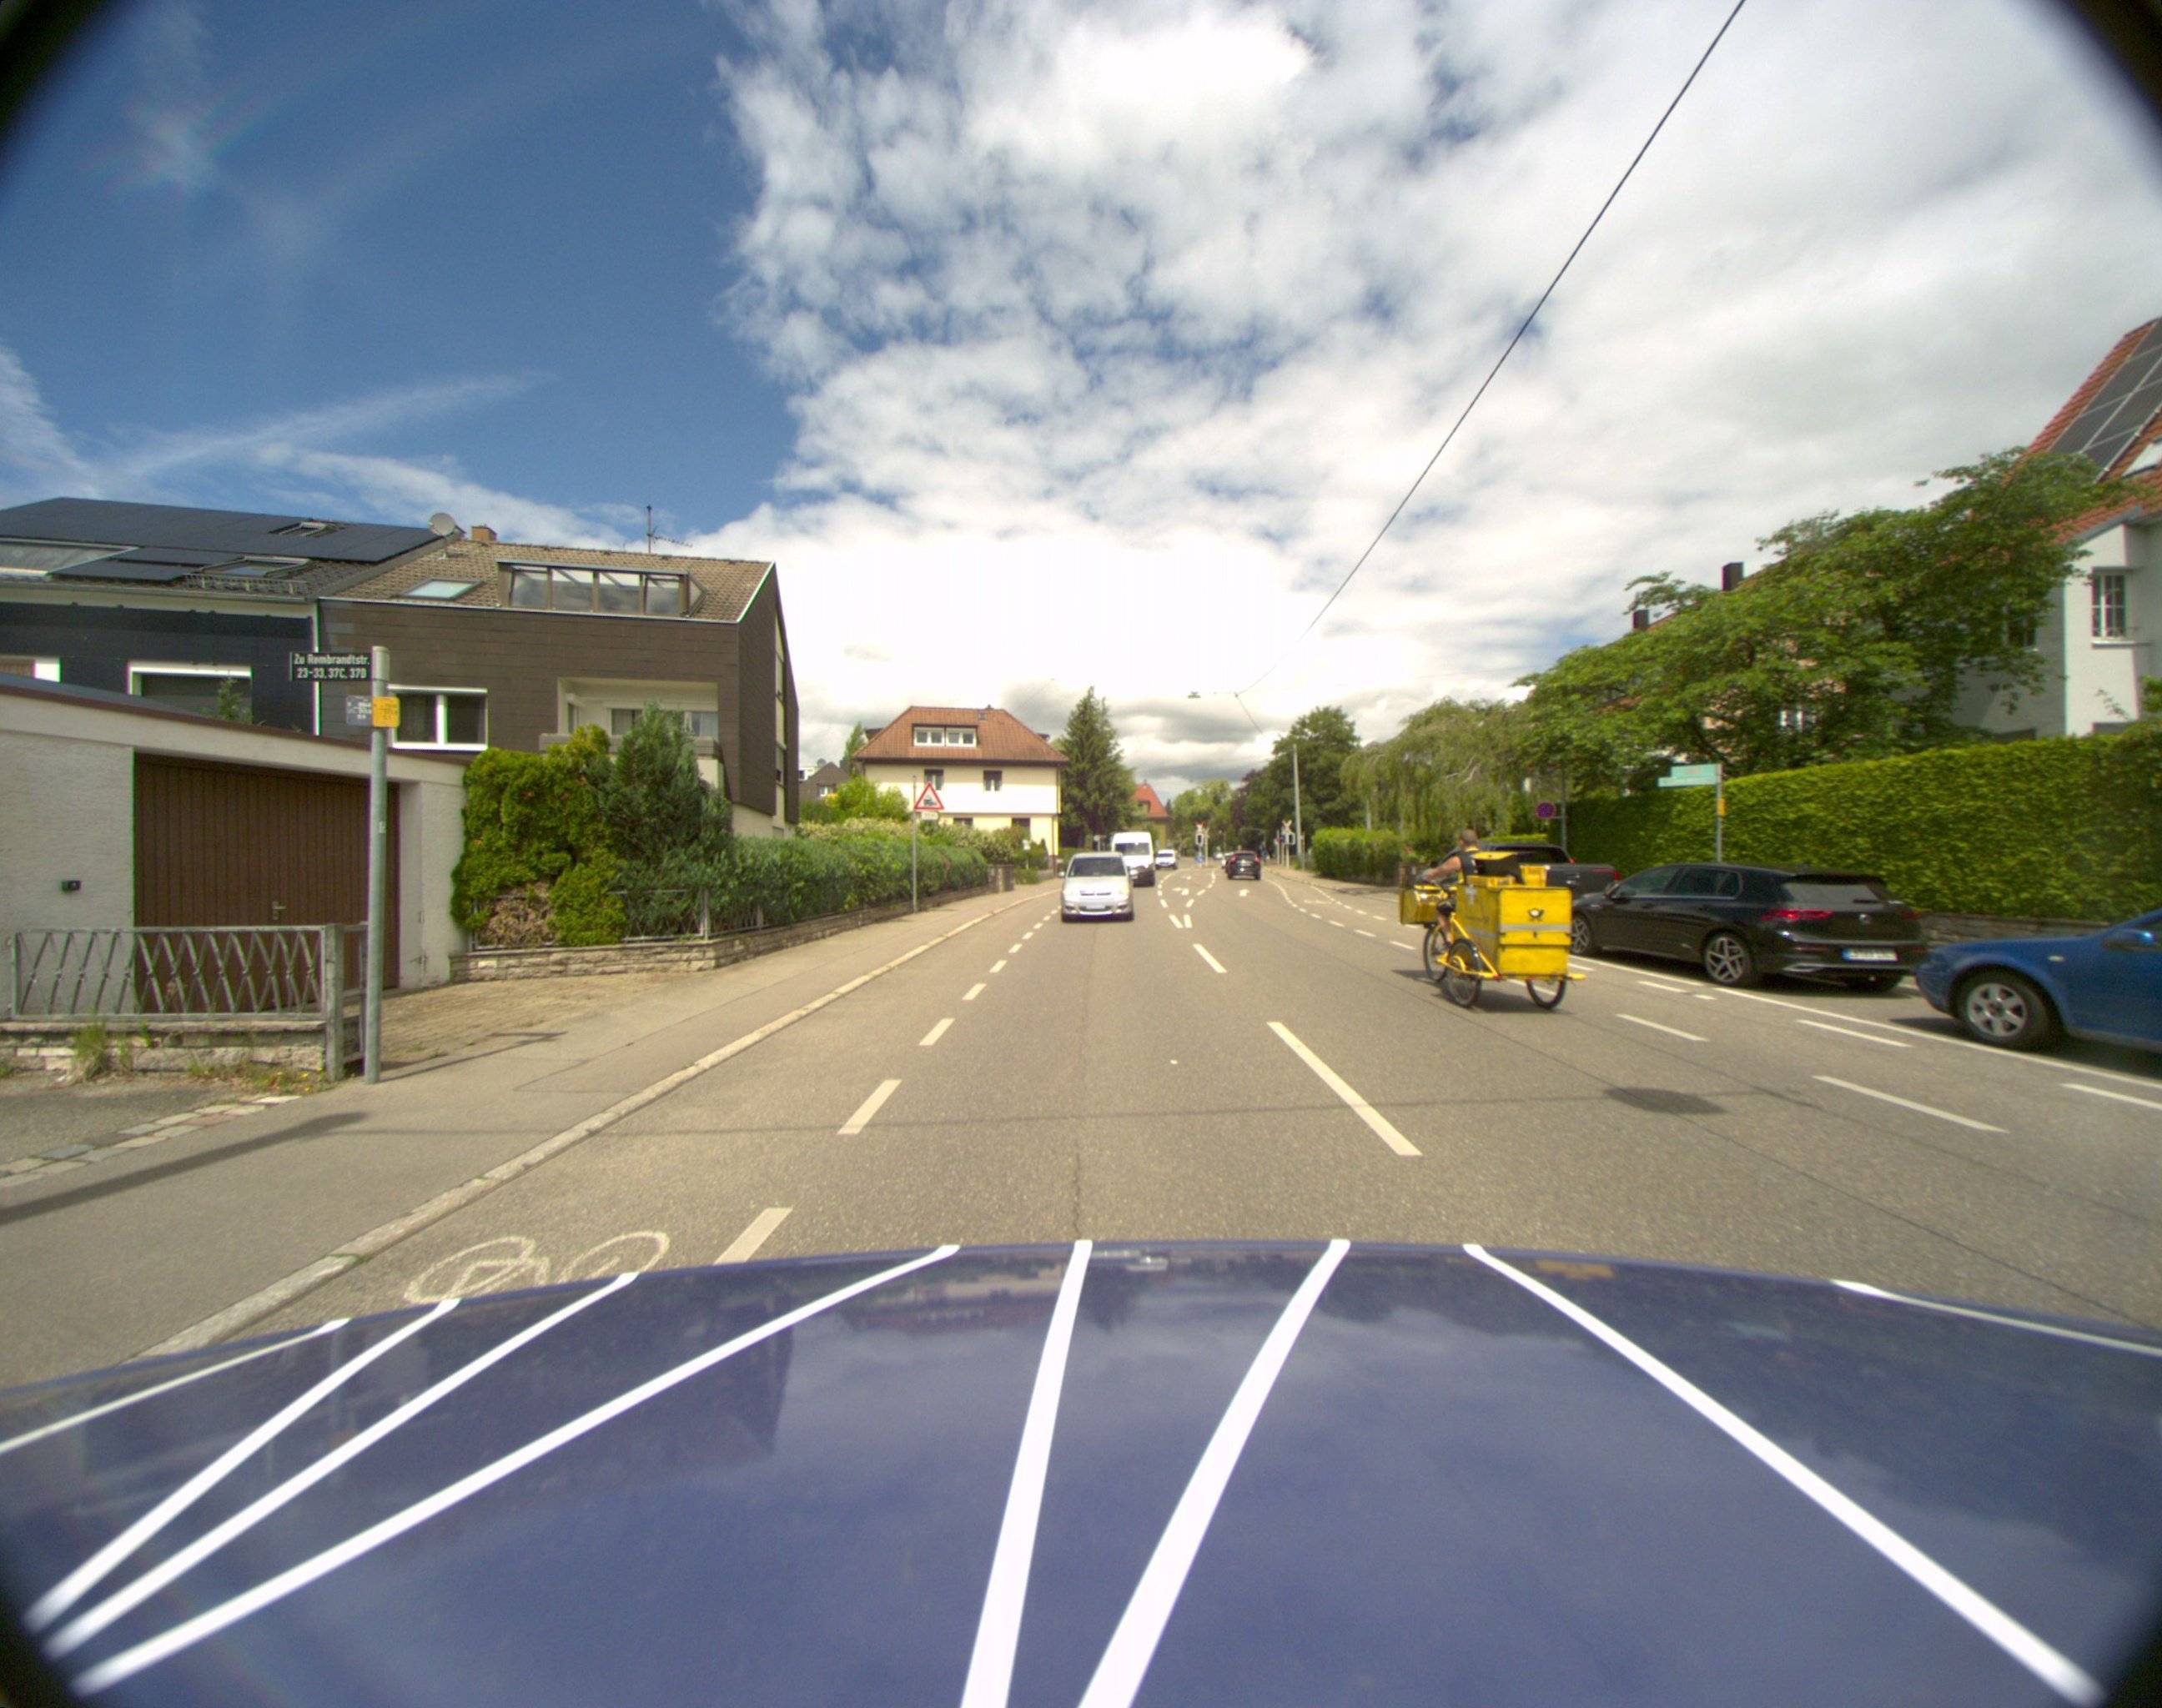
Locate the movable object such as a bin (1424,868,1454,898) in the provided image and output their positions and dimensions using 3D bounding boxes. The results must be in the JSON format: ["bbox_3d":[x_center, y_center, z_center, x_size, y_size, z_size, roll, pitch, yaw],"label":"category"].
[{"bbox_3d":[11.843,0.965,25.155,0.678,0.939,0.645,-2,1,5],"label":"movable object such as a bin"}]

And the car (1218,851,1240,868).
[{"bbox_3d":[14.017,0.505,72.006,1.879,1.467,4.445,0,1,9],"label":"car"}]

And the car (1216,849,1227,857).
[{"bbox_3d":[26.431,-0.264,142.612,1.931,1.412,4.003,-2,0,11],"label":"car"}]

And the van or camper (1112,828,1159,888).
[{"bbox_3d":[2.714,0.224,36.874,2.029,2.564,5.926,-2,-1,5],"label":"van or camper"}]

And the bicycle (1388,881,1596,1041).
[{"bbox_3d":[4.116,0.981,7.950,0.865,1.294,2.662,0,0,3],"label":"bicycle"}]

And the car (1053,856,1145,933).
[{"bbox_3d":[0.550,0.851,18.029,1.707,1.531,4.332,-2,0,7],"label":"car"}]

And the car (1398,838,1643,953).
[{"bbox_3d":[8.522,0.681,15.495,1.998,1.884,5.404,1,0,2],"label":"car"}]

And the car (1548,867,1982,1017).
[{"bbox_3d":[8.219,0.930,9.825,1.782,1.409,4.339,0,0,2],"label":"car"}]

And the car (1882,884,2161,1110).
[{"bbox_3d":[8.065,0.994,4.585,1.782,1.409,4.439,0,0,0],"label":"car"}]

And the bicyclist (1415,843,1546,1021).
[{"bbox_3d":[4.097,0.749,7.893,0.794,1.704,1.209,0,1,4],"label":"bicyclist"}]

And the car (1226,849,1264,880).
[{"bbox_3d":[9.679,0.567,45.120,1.919,1.639,4.296,3,1,10],"label":"car"}]

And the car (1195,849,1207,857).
[{"bbox_3d":[22.960,-0.122,145.684,1.997,1.419,4.003,-2,1,12],"label":"car"}]

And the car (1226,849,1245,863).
[{"bbox_3d":[17.310,0.207,85.201,1.850,1.565,4.162,-1,0,9],"label":"car"}]

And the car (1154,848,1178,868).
[{"bbox_3d":[7.821,0.352,69.758,1.932,1.771,4.003,-2,0,10],"label":"car"}]
